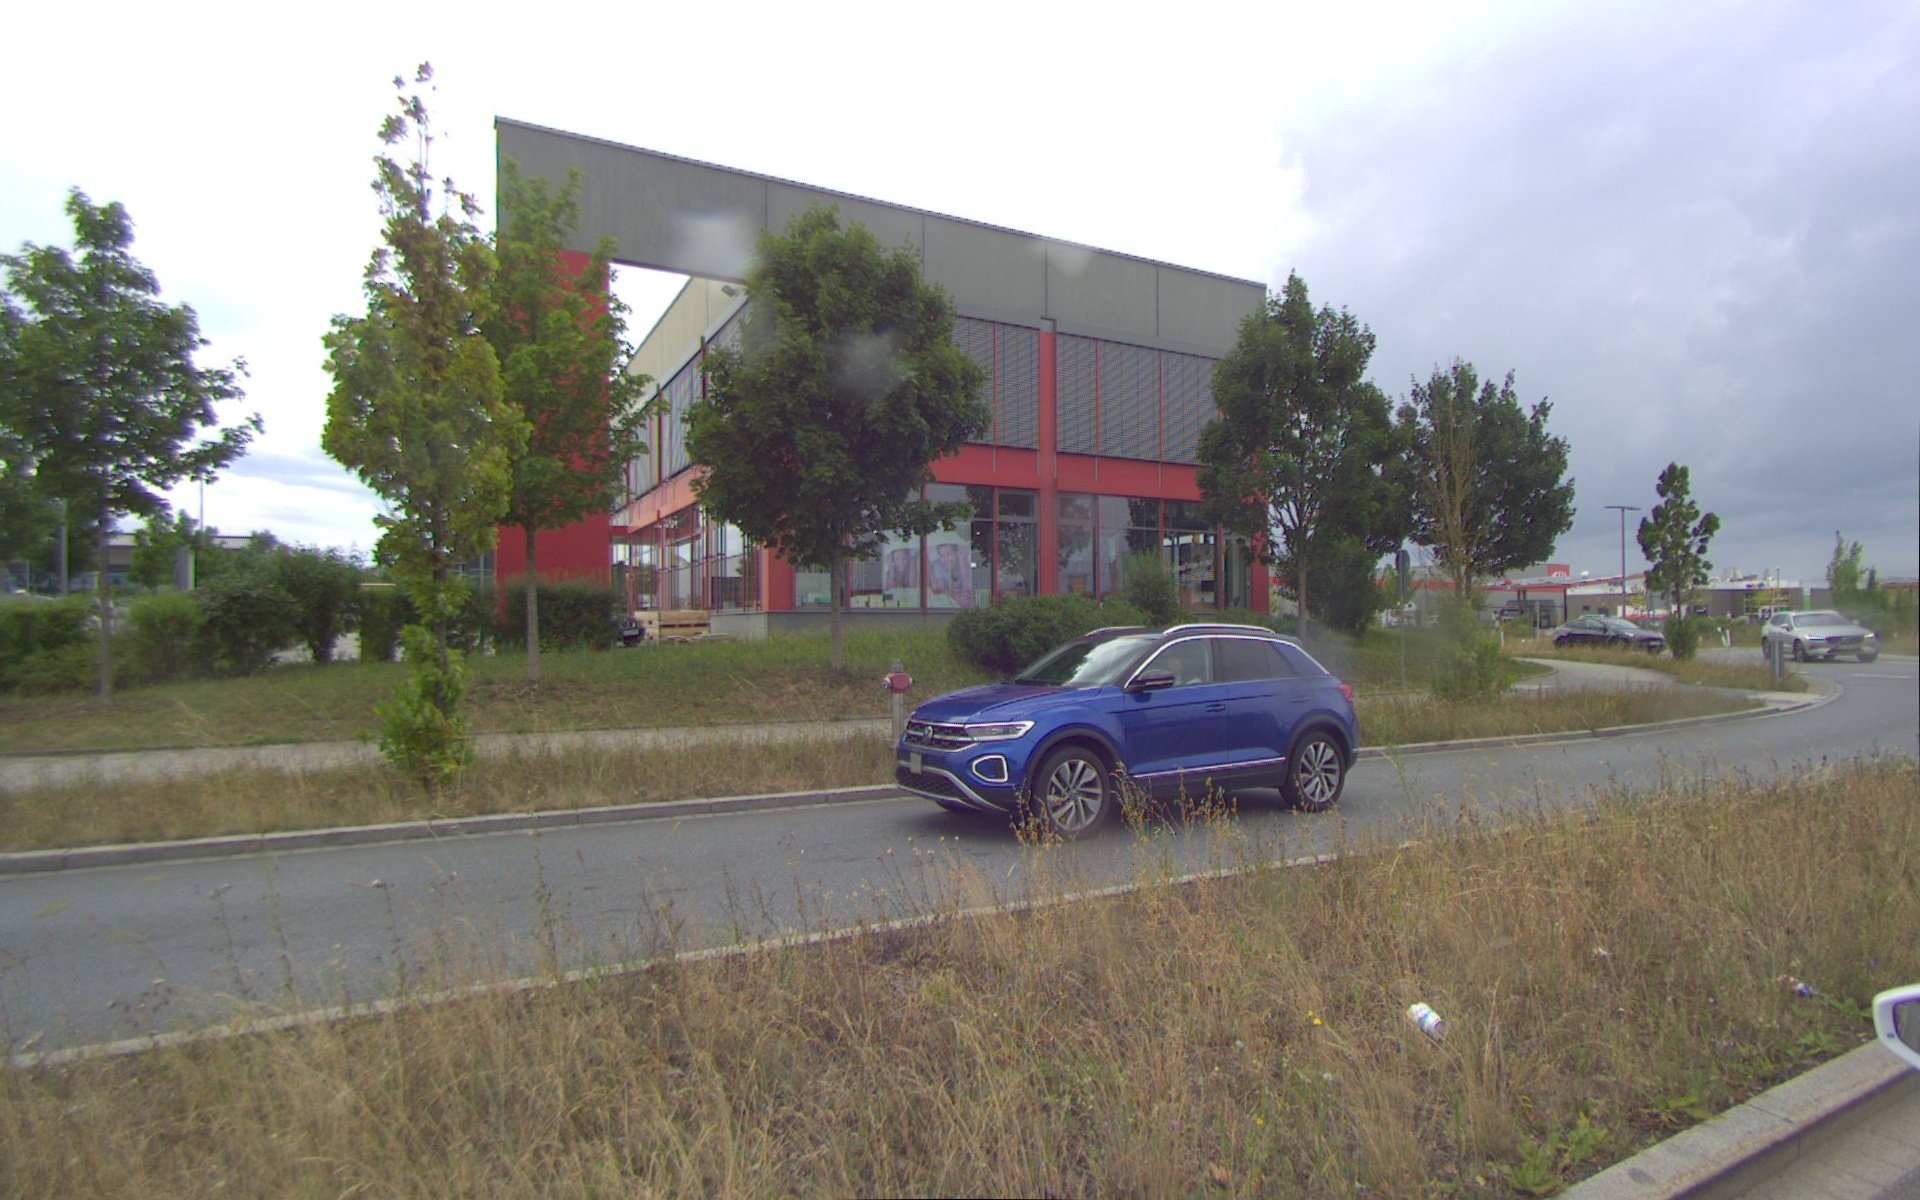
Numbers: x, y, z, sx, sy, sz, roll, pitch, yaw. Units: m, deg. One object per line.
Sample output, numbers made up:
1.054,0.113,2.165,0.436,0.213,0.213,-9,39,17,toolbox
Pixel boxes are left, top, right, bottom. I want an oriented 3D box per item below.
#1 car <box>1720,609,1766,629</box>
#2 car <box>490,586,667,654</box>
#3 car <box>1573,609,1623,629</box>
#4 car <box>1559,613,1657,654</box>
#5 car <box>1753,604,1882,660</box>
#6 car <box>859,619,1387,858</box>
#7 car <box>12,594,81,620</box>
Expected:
72.429,1.764,92.921,3.951,1.884,1.985,1,-1,-29,car
-9.658,0.493,25.356,4.311,1.572,1.995,0,-1,32,car
66.753,1.953,105.136,1.977,2.040,3.968,1,-1,-30,car
25.125,1.268,39.144,1.745,1.504,4.415,0,-1,12,car
28.401,1.044,33.444,1.994,1.713,4.213,0,-1,22,car
1.432,0.997,8.419,4.179,1.548,1.833,2,-3,-31,car
-60.099,0.501,66.150,1.970,1.628,3.981,1,-1,-21,car
